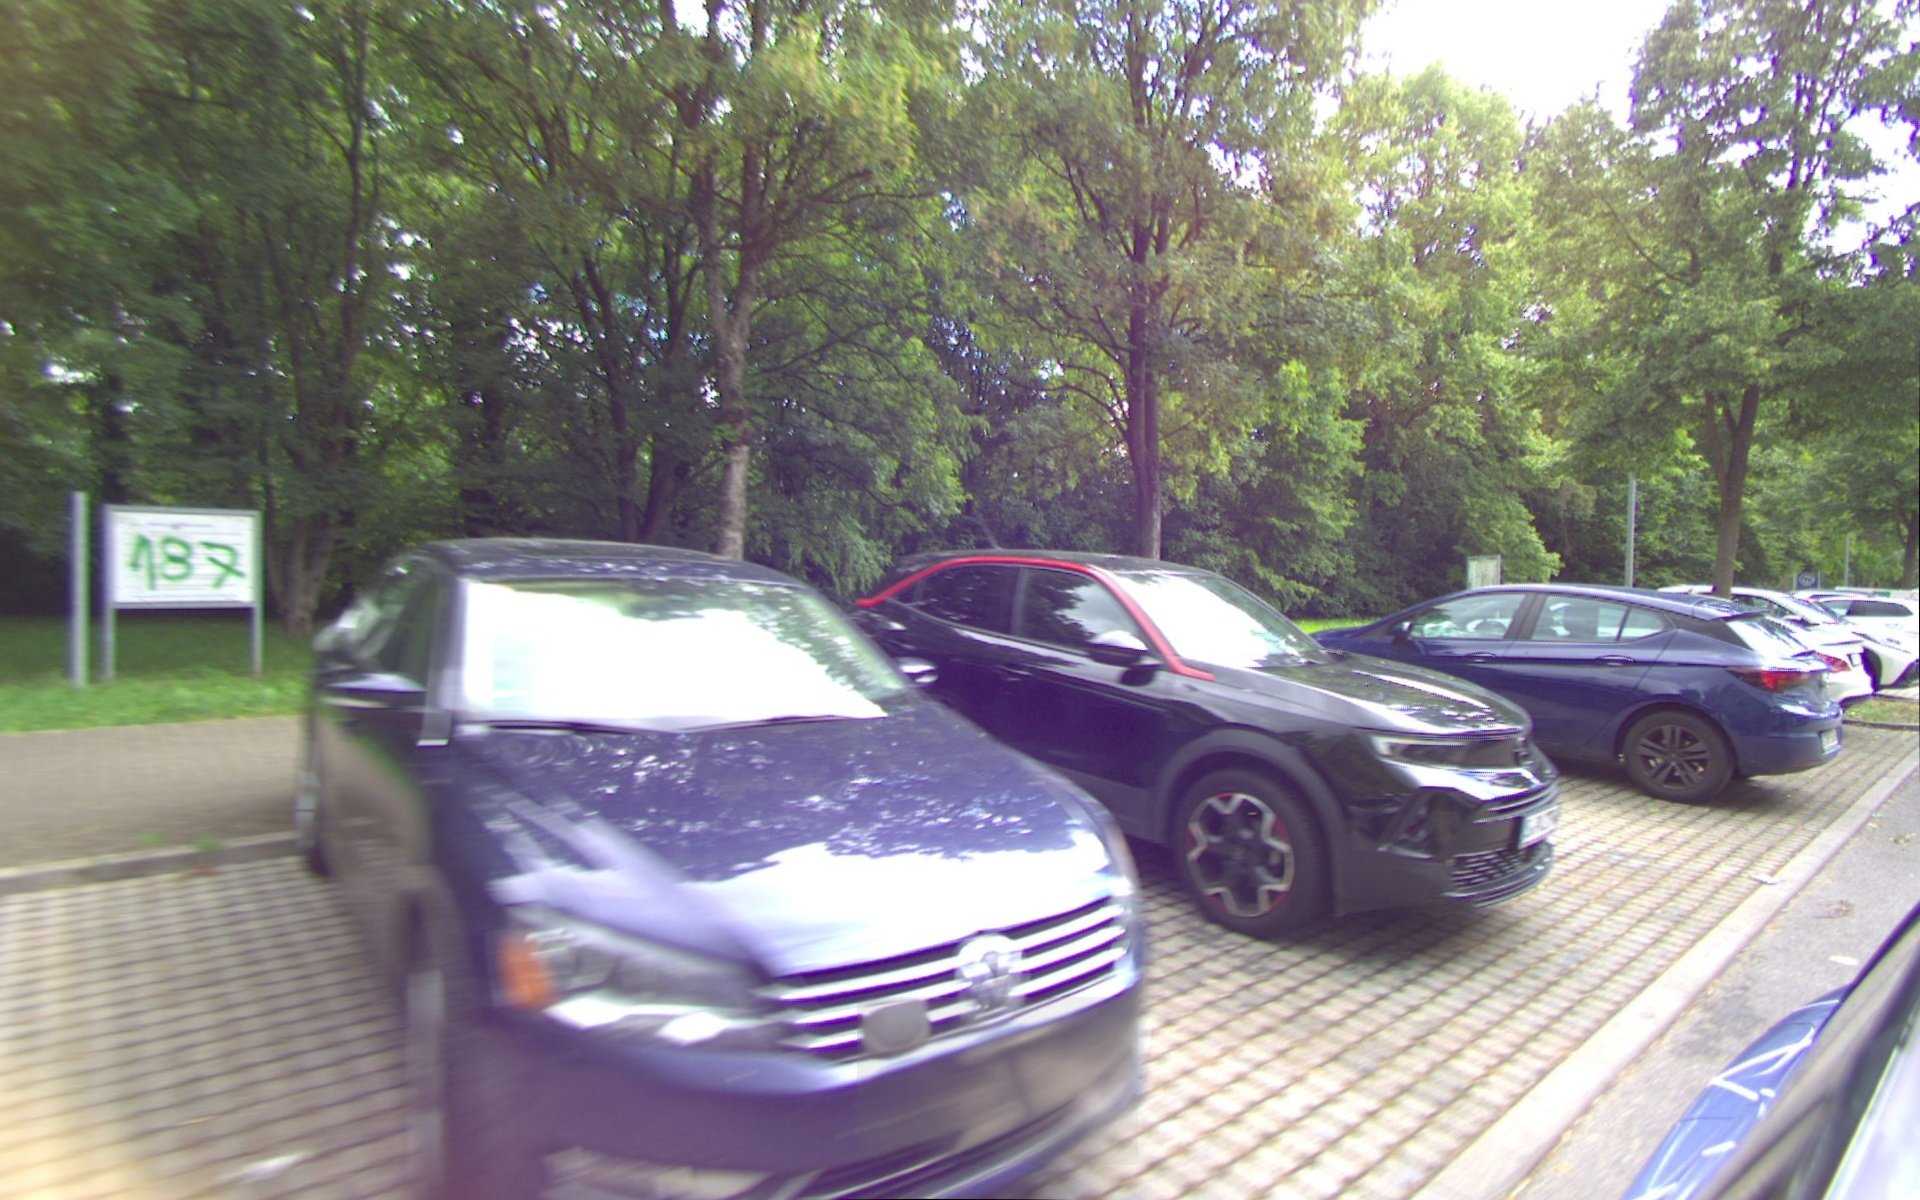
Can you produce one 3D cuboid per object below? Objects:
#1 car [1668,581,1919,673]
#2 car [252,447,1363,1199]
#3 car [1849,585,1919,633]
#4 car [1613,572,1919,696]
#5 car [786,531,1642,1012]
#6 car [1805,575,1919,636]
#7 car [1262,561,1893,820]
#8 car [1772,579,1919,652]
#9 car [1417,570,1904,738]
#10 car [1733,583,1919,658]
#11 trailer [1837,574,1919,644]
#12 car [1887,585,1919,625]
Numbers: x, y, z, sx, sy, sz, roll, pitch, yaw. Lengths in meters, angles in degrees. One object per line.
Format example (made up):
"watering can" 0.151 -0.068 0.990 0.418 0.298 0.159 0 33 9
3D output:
"car" 16.465 0.446 19.704 1.786 1.439 4.062 0 4 -42
"car" -1.229 0.433 3.738 1.947 1.535 4.649 1 3 -39
"car" 33.696 0.358 34.982 1.818 1.589 4.169 0 3 -39
"car" 12.741 0.424 15.800 1.847 1.534 3.852 0 4 -38
"car" 1.003 0.459 5.425 1.821 1.535 4.077 -1 4 -44
"car" 29.615 0.208 31.432 1.938 1.713 4.833 0 4 -37
"car" 4.831 0.497 8.434 1.818 1.474 4.083 0 4 -40
"car" 22.257 0.370 24.258 1.830 1.566 4.118 0 4 -43
"car" 8.190 0.473 12.228 1.814 1.472 4.496 0 4 -41
"car" 20.249 0.433 23.031 4.010 1.439 1.764 5 4 44
"trailer" 26.143 0.261 27.689 1.537 1.812 3.034 0 4 -43
"car" 40.731 0.273 41.292 1.755 1.589 4.141 0 3 -42
